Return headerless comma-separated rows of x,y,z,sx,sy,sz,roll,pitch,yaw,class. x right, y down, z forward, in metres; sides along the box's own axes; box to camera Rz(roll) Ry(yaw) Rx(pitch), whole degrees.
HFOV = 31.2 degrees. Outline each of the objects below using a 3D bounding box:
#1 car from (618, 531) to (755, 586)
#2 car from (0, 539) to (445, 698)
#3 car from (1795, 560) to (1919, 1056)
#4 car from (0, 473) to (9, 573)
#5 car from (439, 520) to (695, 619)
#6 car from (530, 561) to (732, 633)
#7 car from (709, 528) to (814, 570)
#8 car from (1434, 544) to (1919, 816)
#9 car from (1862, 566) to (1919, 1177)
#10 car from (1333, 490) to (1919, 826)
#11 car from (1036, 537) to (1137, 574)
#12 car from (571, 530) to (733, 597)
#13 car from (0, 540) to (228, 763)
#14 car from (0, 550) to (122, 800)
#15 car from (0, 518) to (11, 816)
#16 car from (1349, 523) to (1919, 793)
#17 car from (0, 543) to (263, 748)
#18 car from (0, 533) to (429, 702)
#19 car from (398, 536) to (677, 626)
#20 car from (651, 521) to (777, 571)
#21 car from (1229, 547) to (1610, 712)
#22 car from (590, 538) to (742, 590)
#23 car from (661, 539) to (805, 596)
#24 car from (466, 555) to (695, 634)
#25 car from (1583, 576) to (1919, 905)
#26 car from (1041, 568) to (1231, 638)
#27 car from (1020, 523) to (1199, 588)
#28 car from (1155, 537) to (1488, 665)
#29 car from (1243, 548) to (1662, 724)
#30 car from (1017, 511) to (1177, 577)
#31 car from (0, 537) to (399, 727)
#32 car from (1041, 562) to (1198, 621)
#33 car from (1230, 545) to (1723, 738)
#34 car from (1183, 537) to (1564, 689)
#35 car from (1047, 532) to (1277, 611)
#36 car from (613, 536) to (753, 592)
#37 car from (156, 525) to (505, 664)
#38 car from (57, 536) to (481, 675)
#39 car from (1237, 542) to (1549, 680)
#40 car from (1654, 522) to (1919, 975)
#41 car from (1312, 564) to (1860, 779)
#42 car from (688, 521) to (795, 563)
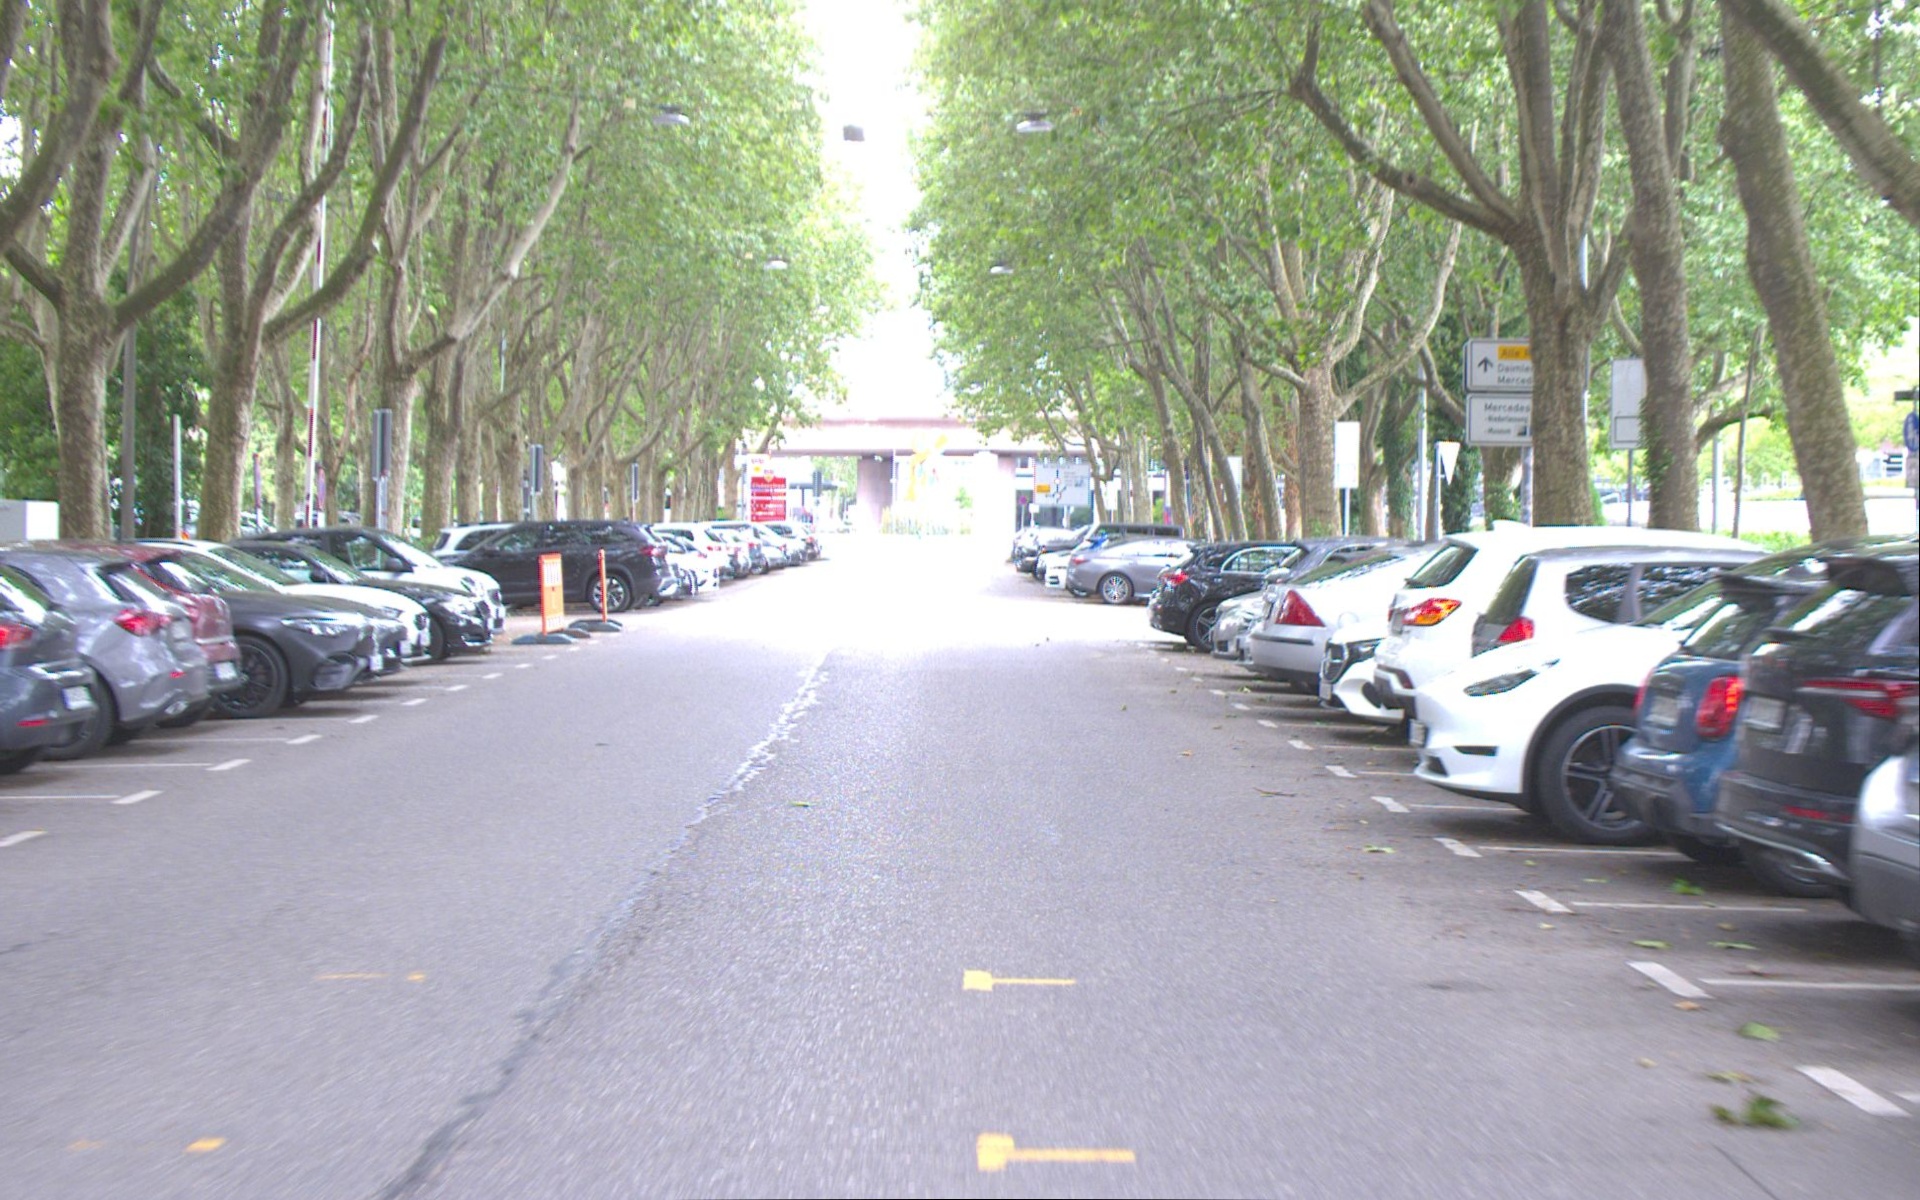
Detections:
-8.155,-1.248,102.686,3.814,1.510,1.686,-1,1,5,car
-7.304,0.165,33.022,4.401,1.425,1.694,-1,1,3,car
4.745,0.672,10.776,3.775,1.465,1.624,2,1,-3,car
-23.719,-1.771,75.710,5.077,2.224,1.536,2,1,-2,car
-7.151,-0.563,62.898,4.471,1.671,1.762,-2,1,-2,car
-6.692,-0.068,70.128,3.814,1.349,1.662,-1,1,5,car
-7.610,-1.968,131.952,3.814,1.510,1.686,1,1,3,car
4.884,0.474,20.963,3.645,1.514,1.644,2,1,-3,car
4.499,0.727,8.013,4.296,1.465,1.624,2,1,-3,car
4.196,0.291,17.989,4.166,1.591,1.855,2,1,-3,car
5.563,-1.952,151.796,4.376,1.517,1.731,1,1,1,car
-7.827,-0.944,87.485,3.814,1.597,1.785,-1,1,5,car
-7.020,0.341,23.196,3.826,1.425,1.695,-1,1,-3,car
-7.173,0.446,20.679,3.826,1.425,1.802,-1,1,-1,car
-7.046,0.408,17.716,3.826,1.603,1.859,-1,1,-4,car
4.596,0.369,23.237,3.645,1.661,1.519,2,1,-3,car
-7.268,0.329,25.388,3.827,1.425,1.694,-1,1,4,car
-6.796,0.146,30.889,3.826,1.425,1.694,-1,0,-3,car
-7.367,-0.347,60.292,4.664,1.422,2.000,-2,1,-2,car
-7.914,-1.754,110.747,3.814,1.510,1.686,-1,1,5,car
4.336,0.262,32.779,3.425,1.419,1.519,2,1,2,car
-7.933,-0.981,92.934,3.814,1.292,1.785,-1,1,5,car
-6.408,-0.923,97.370,3.814,1.510,1.686,-1,1,5,car
-7.201,-0.117,65.502,4.166,1.376,1.871,-2,1,-2,car
4.845,0.639,15.668,3.645,1.366,1.519,2,1,-3,car
3.981,0.062,77.333,4.176,1.437,1.731,2,1,5,car
3.601,-1.069,82.187,4.176,1.437,1.731,2,1,5,car
4.483,0.003,42.973,3.918,1.447,1.556,2,1,-1,car
4.354,0.305,30.676,3.424,1.419,1.519,2,1,-3,car
3.880,-1.596,97.678,4.376,1.745,1.731,1,1,-2,car
-6.654,0.242,27.709,4.020,1.425,1.695,-1,1,-3,car
4.256,-0.235,92.240,4.048,1.463,1.731,1,1,-2,car
4.196,0.320,28.363,3.645,1.419,1.986,2,1,-3,car
4.232,0.119,35.499,3.678,1.419,1.519,2,1,-2,car
4.142,-0.596,70.137,4.575,1.481,2.000,2,1,5,car
-8.089,-1.048,100.461,3.814,1.510,1.686,-1,1,5,car
-7.362,-0.084,40.482,3.826,1.549,1.695,-1,1,-3,car
-7.527,0.041,37.731,4.332,1.425,1.695,-1,1,-3,car
5.094,0.116,40.713,3.424,1.503,1.556,2,1,-1,car
4.793,0.556,13.204,3.775,1.592,1.821,2,1,-3,car
4.527,0.503,25.165,3.645,1.405,1.519,2,1,-3,car
-8.252,-2.184,129.916,3.814,1.510,1.686,1,1,3,car
